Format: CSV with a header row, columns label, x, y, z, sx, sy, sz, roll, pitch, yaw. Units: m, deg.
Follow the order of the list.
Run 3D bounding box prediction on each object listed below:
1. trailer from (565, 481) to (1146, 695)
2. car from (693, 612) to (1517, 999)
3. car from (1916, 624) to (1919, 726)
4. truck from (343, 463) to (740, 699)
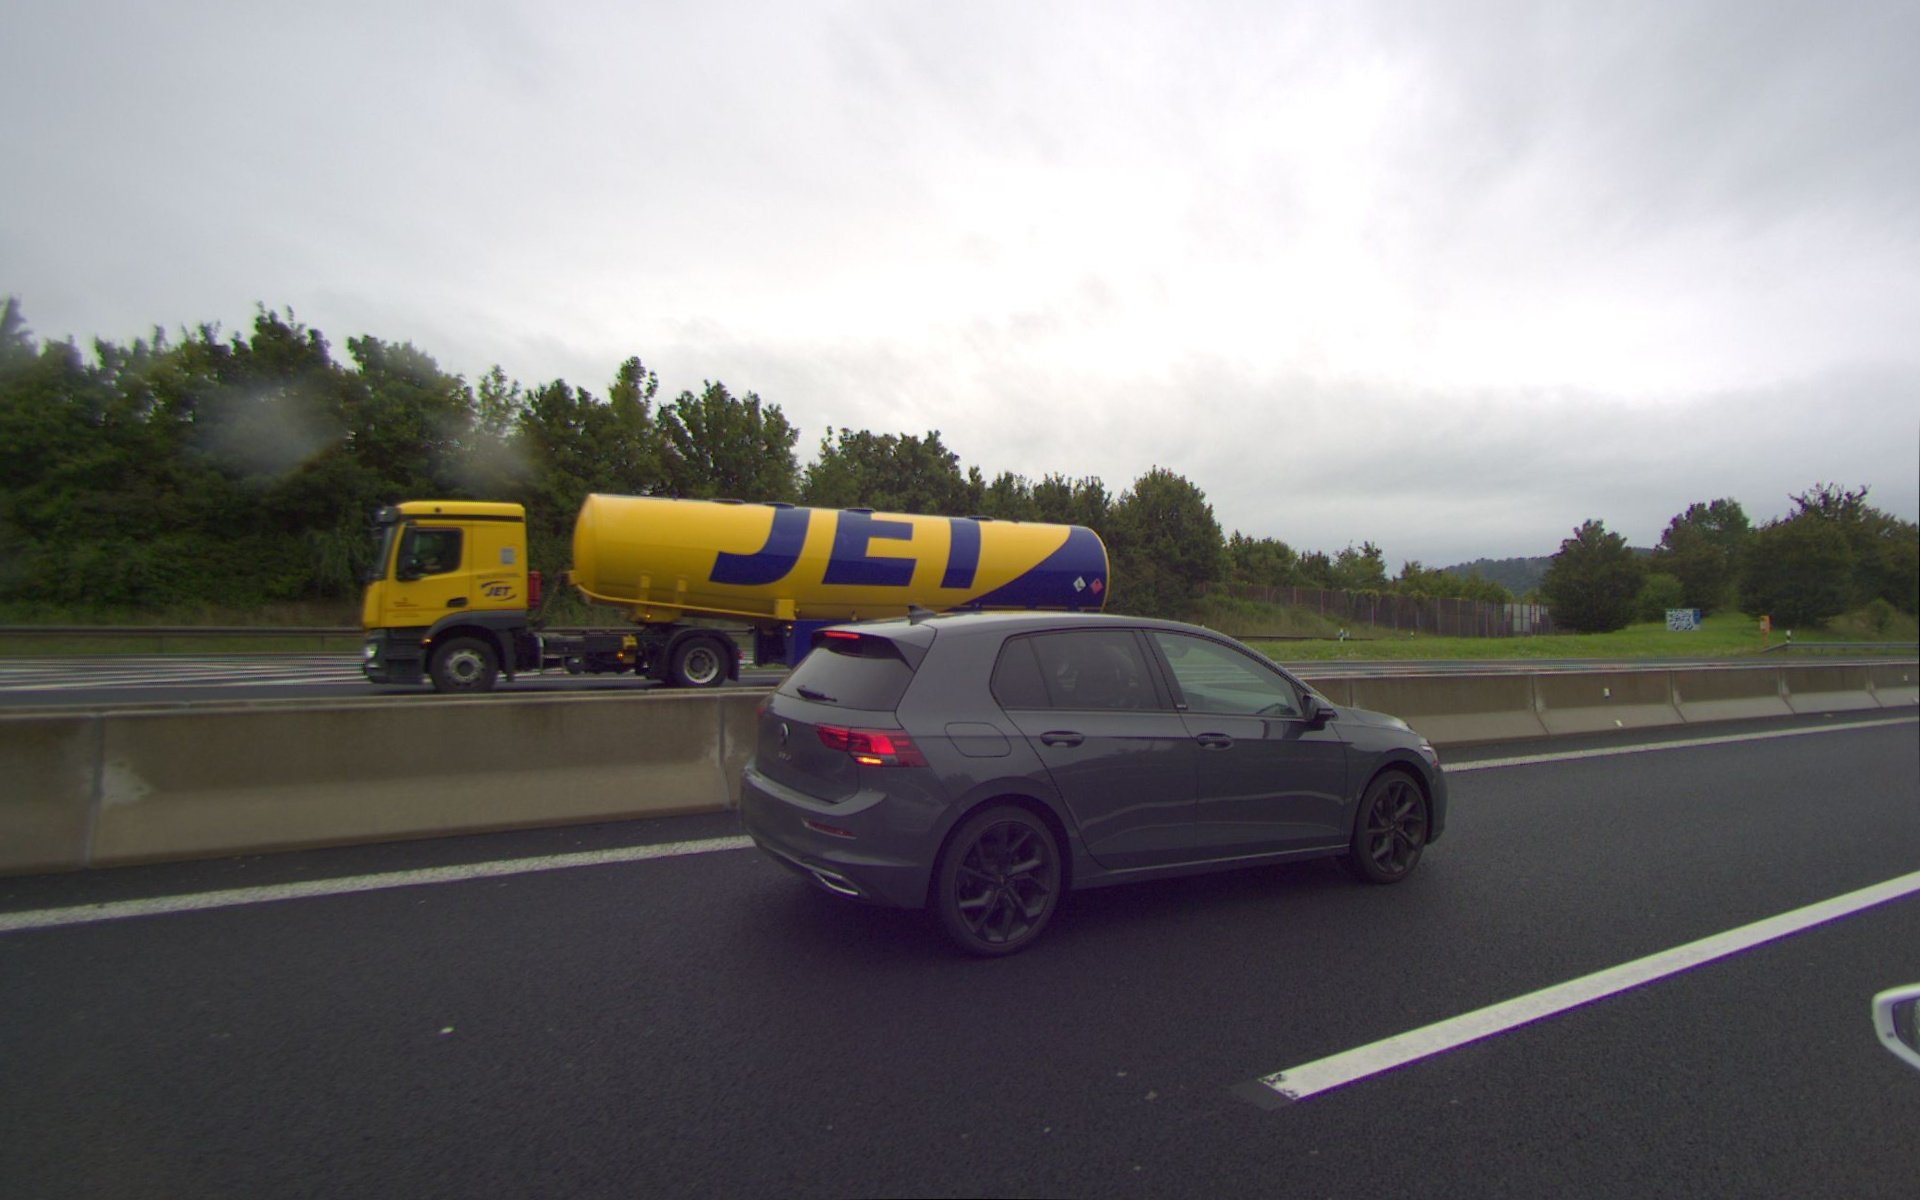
label,x,y,z,sx,sy,sz,roll,pitch,yaw
trailer,-1.685,-0.073,20.066,11.302,3.443,2.751,2,0,-28
car,0.936,0.808,5.674,4.406,1.424,1.891,1,-1,-30
car,16.726,1.174,15.325,4.795,1.517,1.891,2,-1,-31
truck,-6.987,-0.217,17.203,5.770,3.443,2.752,1,0,-27
